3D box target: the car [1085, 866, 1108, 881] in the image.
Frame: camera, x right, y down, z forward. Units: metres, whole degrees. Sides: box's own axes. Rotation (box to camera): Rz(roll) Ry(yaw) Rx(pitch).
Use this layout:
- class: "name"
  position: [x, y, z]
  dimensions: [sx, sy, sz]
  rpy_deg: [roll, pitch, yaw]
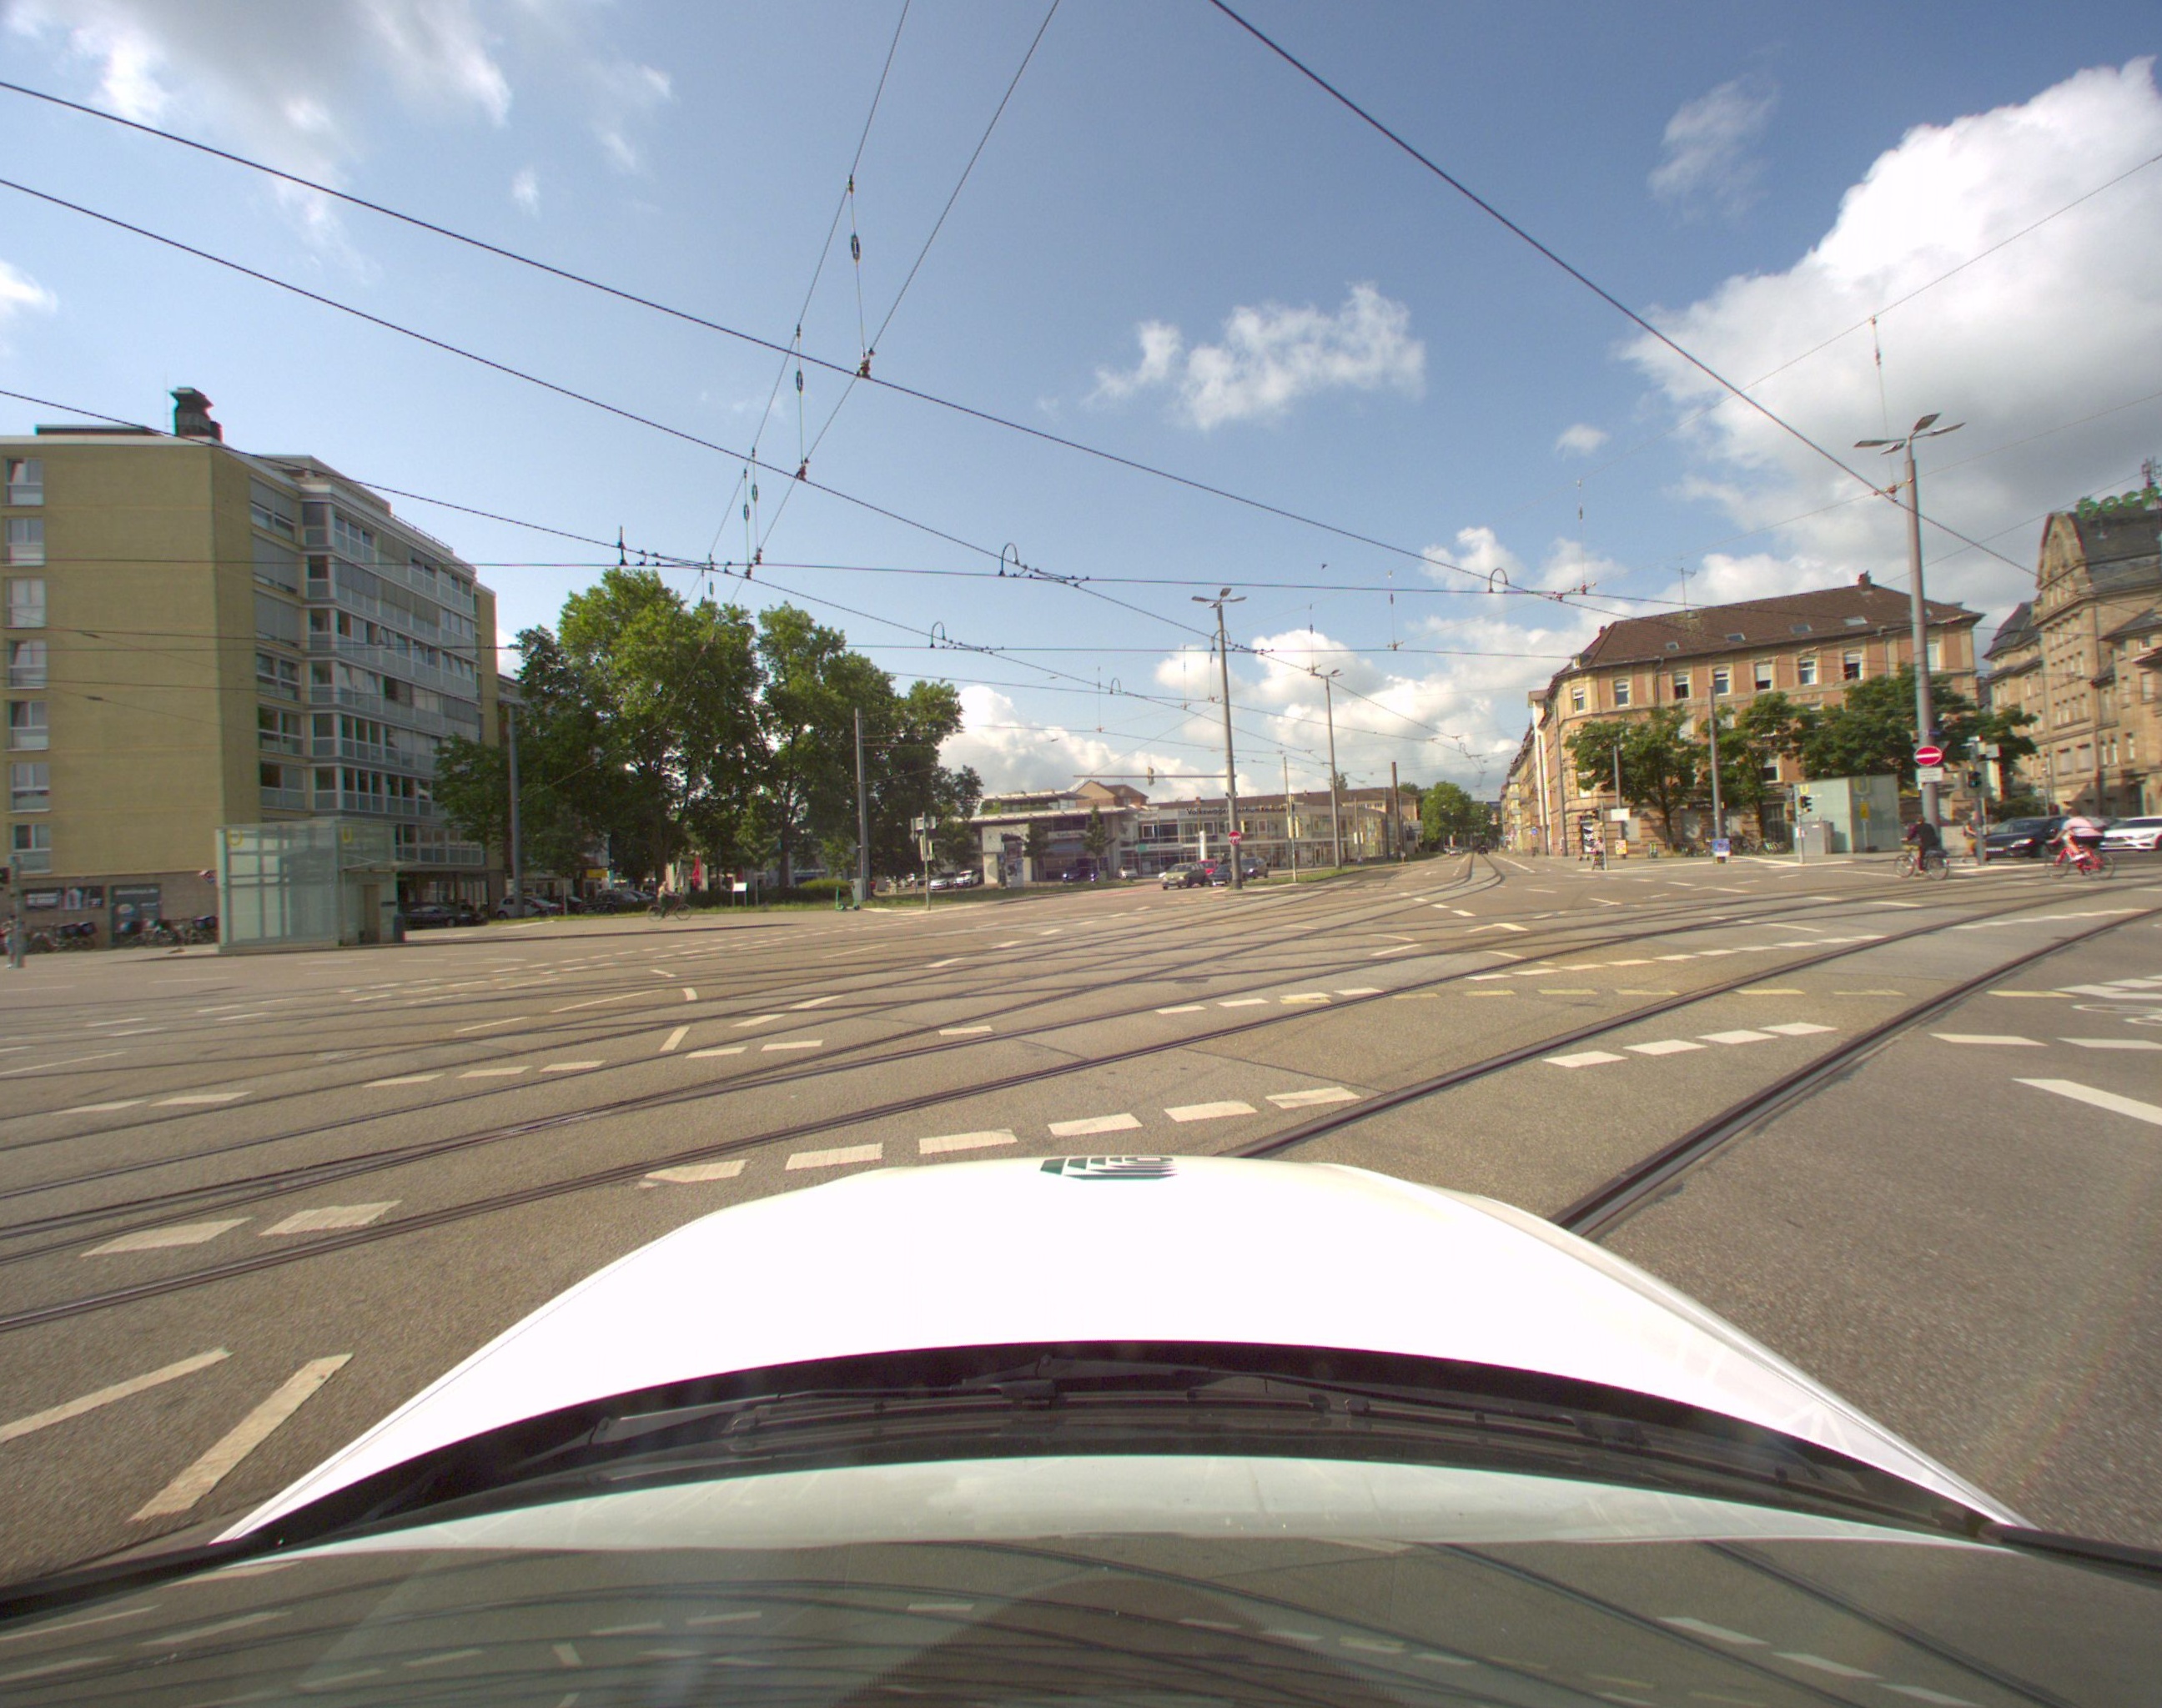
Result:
- class: "car"
  position: [1.659, 1.979, 84.171]
  dimensions: [1.910, 1.445, 4.007]
  rpy_deg: [-3, -1, 6]

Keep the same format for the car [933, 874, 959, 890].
- class: "car"
  position: [-14.598, 3.026, 88.243]
  dimensions: [1.985, 1.574, 4.004]
  rpy_deg: [0, 0, 3]

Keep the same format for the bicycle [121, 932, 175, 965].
- class: "bicycle"
  position: [-40.273, 4.080, 35.169]
  dimensions: [1.635, 1.272, 0.531]
  rpy_deg: [4, 1, -1]

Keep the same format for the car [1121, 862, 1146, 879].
- class: "car"
  position: [5.493, 1.699, 85.349]
  dimensions: [1.906, 1.552, 4.014]
  rpy_deg: [-4, -1, 13]

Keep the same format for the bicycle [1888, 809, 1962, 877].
- class: "bicycle"
  position: [22.937, -0.291, 22.188]
  dimensions: [0.996, 1.725, 2.485]
  rpy_deg: [0, 0, 36]

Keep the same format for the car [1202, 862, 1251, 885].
- class: "car"
  position: [8.108, 1.057, 45.144]
  dimensions: [1.606, 1.161, 4.024]
  rpy_deg: [0, 0, 27]

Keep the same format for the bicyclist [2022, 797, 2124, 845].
- class: "bicyclist"
  position: [23.475, -0.771, 19.309]
  dimensions: [0.984, 1.028, 1.218]
  rpy_deg: [1, -2, 11]

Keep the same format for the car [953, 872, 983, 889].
- class: "car"
  position: [-12.130, 2.821, 87.701]
  dimensions: [2.056, 1.604, 4.008]
  rpy_deg: [-3, -1, 7]

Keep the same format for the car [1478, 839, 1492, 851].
- class: "car"
  position: [73.510, -1.623, 148.135]
  dimensions: [1.974, 2.014, 4.025]
  rpy_deg: [-4, -1, 30]

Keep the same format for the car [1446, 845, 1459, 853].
- class: "car"
  position: [69.520, -0.995, 152.517]
  dimensions: [1.976, 1.332, 4.022]
  rpy_deg: [-4, -1, 23]

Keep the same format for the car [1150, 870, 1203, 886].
- class: "car"
  position: [8.639, 2.181, 73.773]
  dimensions: [4.501, 1.354, 2.008]
  rpy_deg: [0, 0, 15]

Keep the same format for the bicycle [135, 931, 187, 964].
- class: "bicycle"
  position: [-40.315, 4.076, 35.708]
  dimensions: [1.635, 1.272, 0.487]
  rpy_deg: [4, 1, -2]

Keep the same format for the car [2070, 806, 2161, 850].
- class: "car"
  position: [41.936, -1.047, 32.149]
  dimensions: [4.679, 1.595, 1.990]
  rpy_deg: [-2, 1, -16]

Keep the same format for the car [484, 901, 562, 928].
- class: "car"
  position: [-35.800, 3.873, 52.345]
  dimensions: [3.558, 1.530, 1.996]
  rpy_deg: [0, 0, -7]

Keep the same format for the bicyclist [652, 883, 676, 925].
- class: "bicyclist"
  position: [-18.082, 2.160, 35.341]
  dimensions: [0.827, 1.745, 0.708]
  rpy_deg: [0, 0, -18]

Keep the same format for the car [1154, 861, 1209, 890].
- class: "car"
  position: [5.762, 1.161, 46.133]
  dimensions: [1.803, 1.513, 4.024]
  rpy_deg: [0, 0, 27]

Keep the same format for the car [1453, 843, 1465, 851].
- class: "car"
  position: [76.099, -1.363, 164.012]
  dimensions: [1.976, 1.491, 4.023]
  rpy_deg: [-1, 0, 24]

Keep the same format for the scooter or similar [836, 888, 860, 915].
- class: "scooter or similar"
  position: [-10.863, 2.207, 37.960]
  dimensions: [0.935, 1.157, 0.377]
  rpy_deg: [2, 3, -45]

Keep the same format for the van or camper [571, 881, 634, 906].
- class: "van or camper"
  position: [-52.186, 4.307, 88.791]
  dimensions: [5.837, 2.469, 2.401]
  rpy_deg: [0, 0, 13]

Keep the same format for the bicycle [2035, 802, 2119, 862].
- class: "bicycle"
  position: [30.582, -0.655, 25.046]
  dimensions: [0.725, 1.777, 1.641]
  rpy_deg: [0, 0, 8]

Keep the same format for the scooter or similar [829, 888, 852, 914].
- class: "scooter or similar"
  position: [-11.316, 2.203, 38.333]
  dimensions: [0.933, 1.157, 0.378]
  rpy_deg: [2, 2, -33]

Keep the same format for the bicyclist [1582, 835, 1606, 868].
- class: "bicyclist"
  position: [26.307, -0.149, 41.788]
  dimensions: [0.777, 1.658, 1.203]
  rpy_deg: [-1, 0, 19]

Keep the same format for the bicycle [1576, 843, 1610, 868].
- class: "bicycle"
  position: [26.279, 0.066, 41.826]
  dimensions: [0.890, 1.170, 2.694]
  rpy_deg: [-1, 1, 20]

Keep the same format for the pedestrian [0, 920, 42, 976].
- class: "pedestrian"
  position: [-35.401, 3.113, 27.031]
  dimensions: [0.788, 1.759, 0.986]
  rpy_deg: [-3, -1, -30]

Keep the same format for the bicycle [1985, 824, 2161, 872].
- class: "bicycle"
  position: [23.466, -0.102, 19.352]
  dimensions: [0.986, 1.027, 3.118]
  rpy_deg: [1, -1, 11]

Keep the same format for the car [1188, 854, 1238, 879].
- class: "car"
  position: [8.439, 0.761, 51.711]
  dimensions: [1.975, 1.519, 4.024]
  rpy_deg: [0, 0, 27]

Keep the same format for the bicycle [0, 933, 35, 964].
- class: "bicycle"
  position: [-46.180, 4.051, 35.020]
  dimensions: [1.635, 1.201, 0.487]
  rpy_deg: [4, 1, -2]

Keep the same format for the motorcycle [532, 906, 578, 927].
- class: "motorcycle"
  position: [-27.552, 3.277, 42.679]
  dimensions: [0.597, 0.902, 1.906]
  rpy_deg: [3, 2, 41]

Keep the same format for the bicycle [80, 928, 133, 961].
- class: "bicycle"
  position: [-42.419, 3.947, 35.448]
  dimensions: [1.635, 1.272, 0.487]
  rpy_deg: [4, 1, -2]

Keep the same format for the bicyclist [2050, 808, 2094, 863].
- class: "bicyclist"
  position: [30.548, -0.577, 25.110]
  dimensions: [0.569, 1.671, 0.658]
  rpy_deg: [0, 0, 8]

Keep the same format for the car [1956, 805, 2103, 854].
- class: "car"
  position: [35.603, -0.883, 30.607]
  dimensions: [4.335, 1.739, 1.989]
  rpy_deg: [0, 0, -16]

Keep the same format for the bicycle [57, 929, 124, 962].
- class: "bicycle"
  position: [-42.628, 3.947, 35.068]
  dimensions: [1.886, 1.272, 0.485]
  rpy_deg: [4, 2, -14]

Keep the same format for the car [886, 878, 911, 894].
- class: "car"
  position: [-19.967, 3.500, 89.283]
  dimensions: [1.675, 1.596, 4.002]
  rpy_deg: [0, 0, 2]

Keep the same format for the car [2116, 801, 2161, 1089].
- class: "car"
  position: [6.234, 0.477, 2.243]
  dimensions: [1.756, 1.528, 4.267]
  rpy_deg: [-3, 0, 10]

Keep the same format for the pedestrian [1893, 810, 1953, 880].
- class: "pedestrian"
  position: [22.931, -0.243, 22.196]
  dimensions: [0.982, 1.841, 1.002]
  rpy_deg: [0, 0, 37]

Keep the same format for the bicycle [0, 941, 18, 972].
- class: "bicycle"
  position: [-46.227, 4.308, 34.461]
  dimensions: [1.635, 1.201, 0.549]
  rpy_deg: [4, 1, -1]

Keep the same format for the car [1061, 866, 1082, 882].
- class: "car"
  position: [-0.979, 2.059, 84.878]
  dimensions: [1.912, 1.445, 4.001]
  rpy_deg: [-3, -1, 2]

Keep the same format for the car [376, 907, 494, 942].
- class: "car"
  position: [-33.776, 3.672, 42.710]
  dimensions: [4.373, 1.585, 1.995]
  rpy_deg: [2, 0, -7]

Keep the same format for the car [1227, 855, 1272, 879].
- class: "car"
  position: [12.206, 0.909, 58.783]
  dimensions: [1.974, 1.552, 4.025]
  rpy_deg: [-4, -1, 30]

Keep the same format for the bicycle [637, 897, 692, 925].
- class: "bicycle"
  position: [-18.062, 2.456, 35.353]
  dimensions: [1.990, 1.127, 0.785]
  rpy_deg: [0, 0, -17]
